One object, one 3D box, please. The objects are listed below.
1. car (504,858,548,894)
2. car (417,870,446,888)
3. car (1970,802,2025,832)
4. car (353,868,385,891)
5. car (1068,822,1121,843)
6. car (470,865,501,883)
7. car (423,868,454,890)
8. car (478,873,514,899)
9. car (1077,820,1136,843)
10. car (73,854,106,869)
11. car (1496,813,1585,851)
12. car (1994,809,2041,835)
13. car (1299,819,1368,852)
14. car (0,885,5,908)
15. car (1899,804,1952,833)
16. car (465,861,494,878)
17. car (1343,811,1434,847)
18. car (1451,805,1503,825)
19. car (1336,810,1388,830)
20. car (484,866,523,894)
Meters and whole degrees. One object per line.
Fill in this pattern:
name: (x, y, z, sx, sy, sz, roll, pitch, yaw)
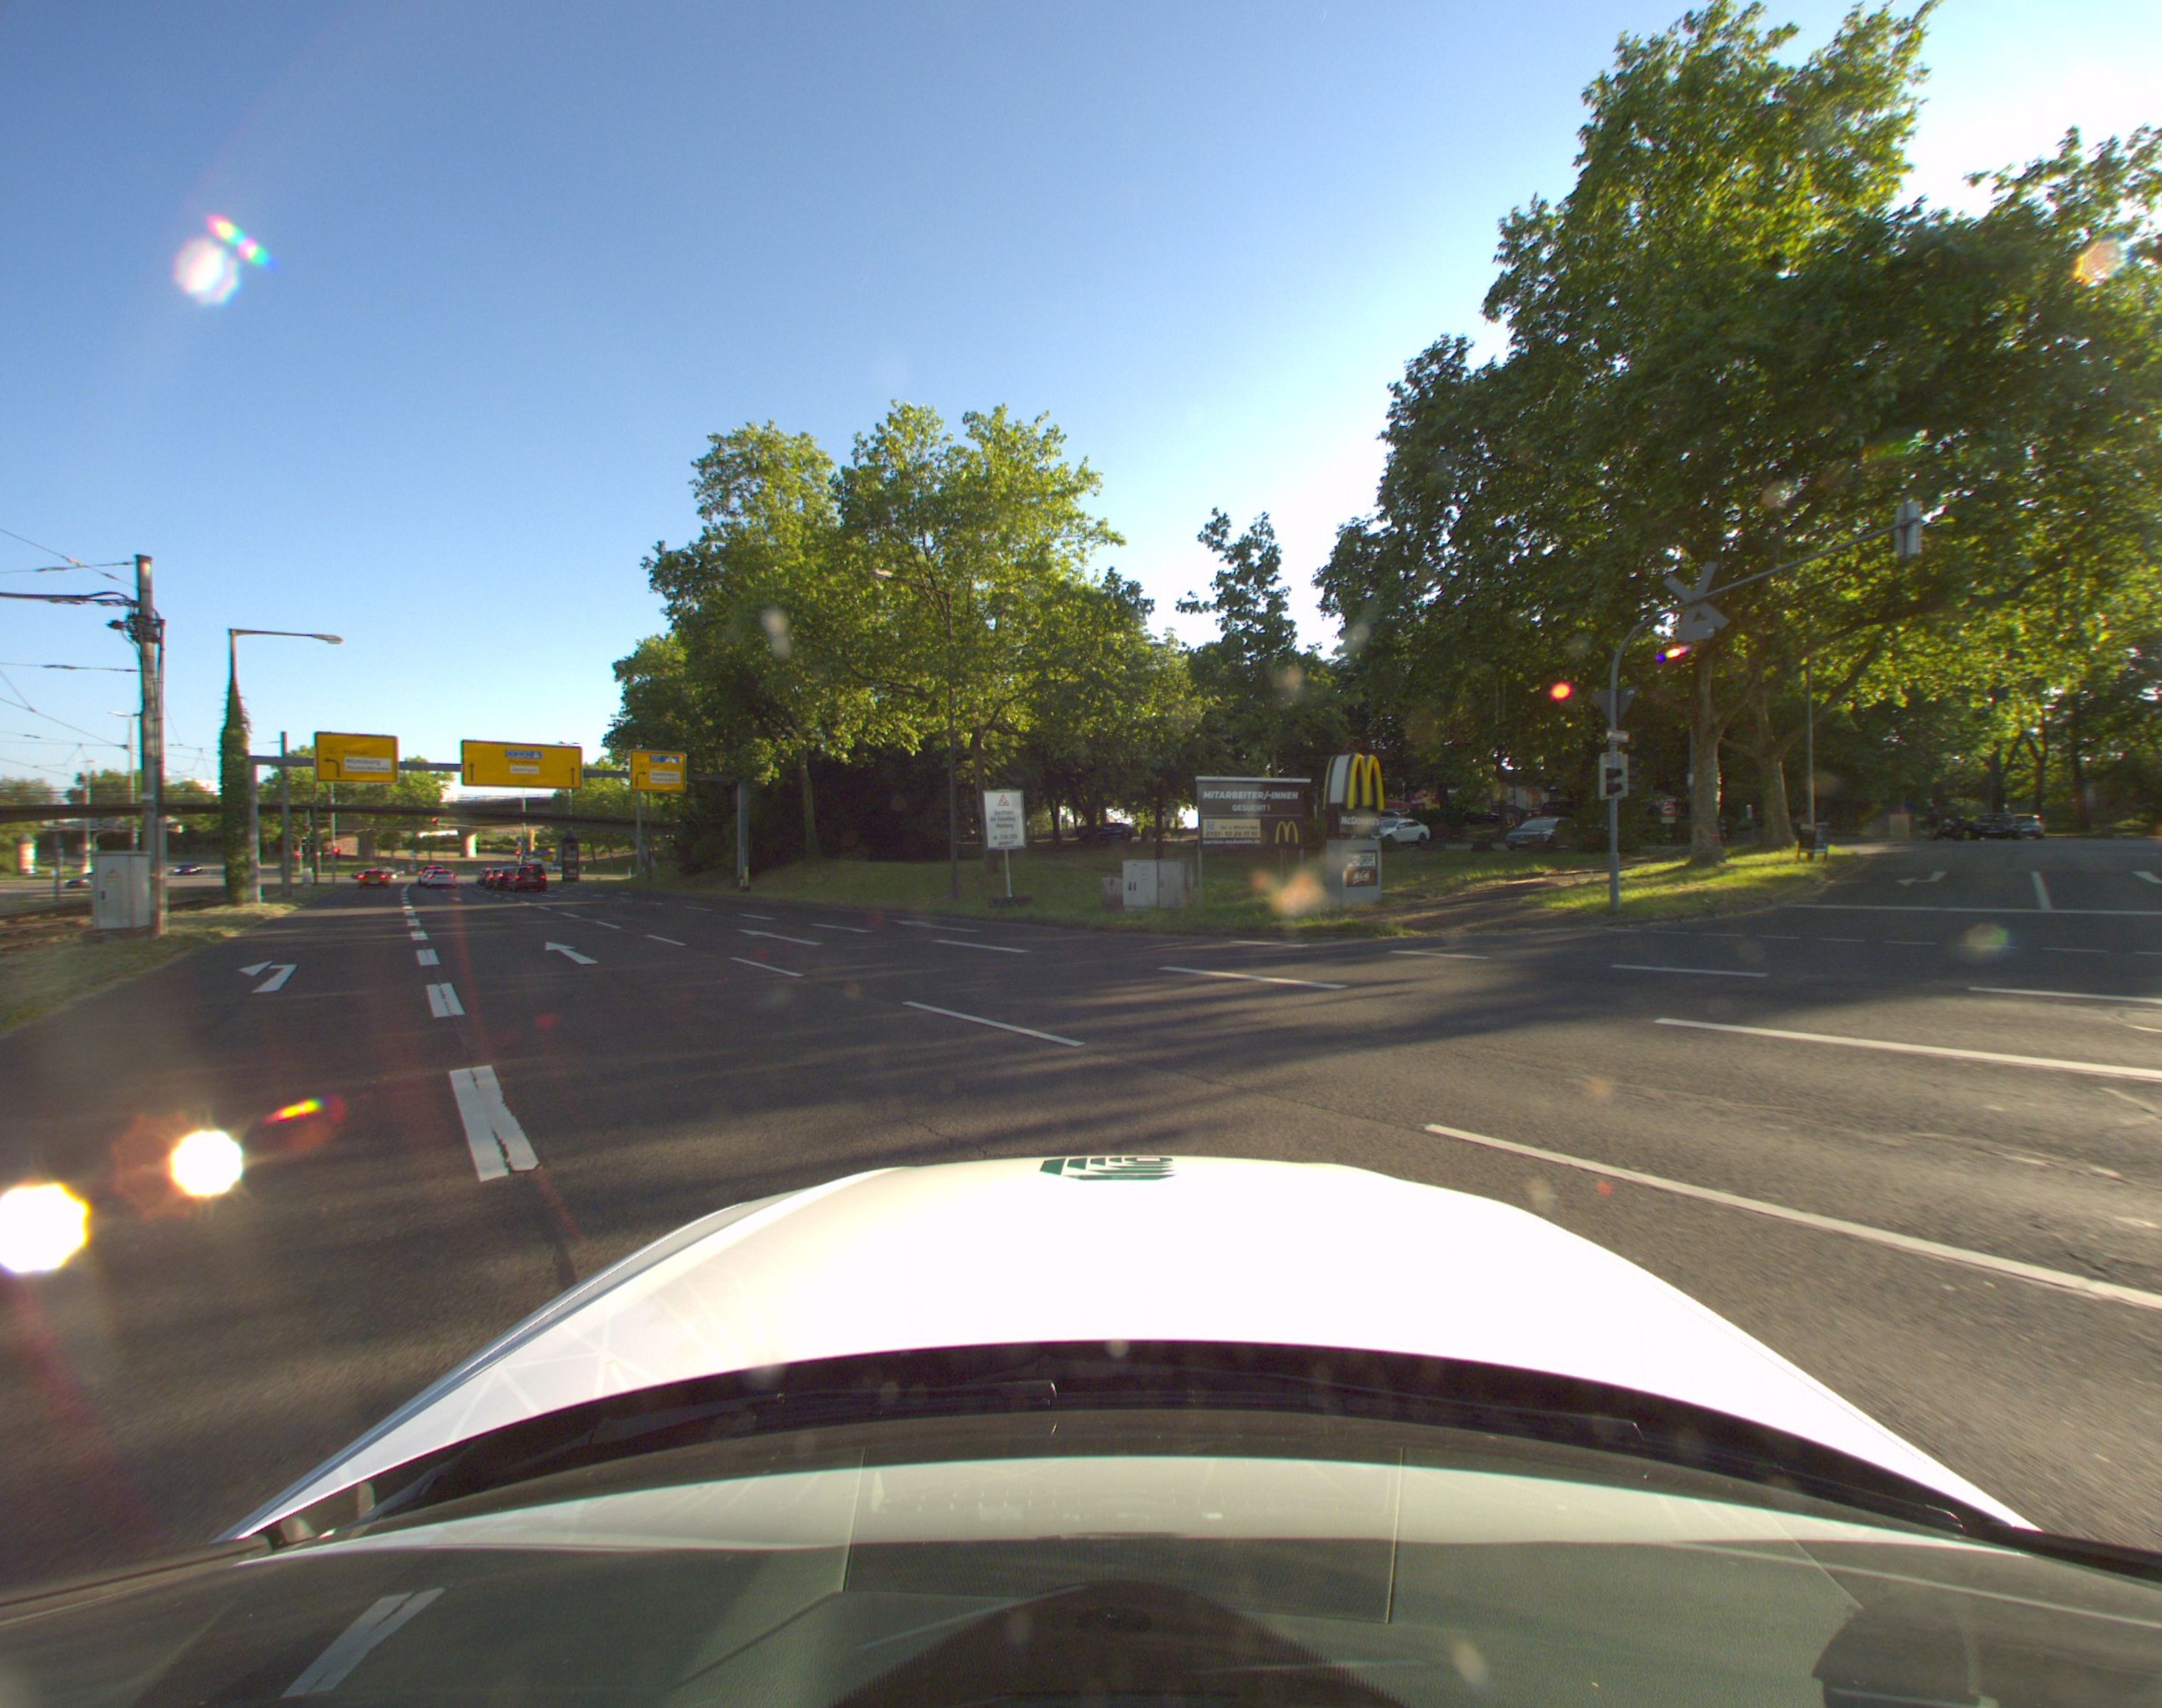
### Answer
car: (-35.141, 1.367, 51.559, 1.808, 2.105, 3.953, -3, 2, -40)
car: (-54.040, 2.036, 67.805, 1.756, 1.432, 4.361, 1, -1, -38)
car: (50.261, -2.043, 44.648, 4.020, 1.552, 1.830, -3, 2, -39)
car: (-54.637, 1.932, 62.515, 1.677, 1.565, 3.953, -3, 2, -40)
car: (1.126, -1.758, 67.353, 4.007, 1.552, 1.792, -3, 1, -26)
car: (-51.874, 1.721, 70.891, 1.808, 1.382, 4.424, -3, 2, -40)
car: (-49.529, 1.904, 62.736, 1.677, 1.565, 4.141, -3, 2, -40)
car: (-43.634, 2.329, 60.723, 1.808, 1.749, 3.953, -3, 2, -40)
car: (1.896, -1.684, 60.124, 4.017, 1.552, 1.788, -3, 1, -35)
car: (-119.120, 0.862, 97.848, 1.895, 1.772, 3.952, 1, -1, -41)
car: (20.698, -1.007, 36.621, 4.425, 1.574, 2.019, -3, 1, -40)
car: (59.617, -2.037, 51.840, 4.020, 1.552, 1.830, -3, 2, -39)
car: (14.229, -1.045, 45.707, 4.250, 1.687, 1.805, -3, 1, -43)
car: (-80.039, 3.159, 58.675, 2.010, 1.681, 4.142, -3, 1, -39)
car: (49.365, -2.097, 47.576, 4.020, 1.552, 1.830, -3, 2, -39)
car: (-55.002, 1.395, 74.434, 1.808, 1.442, 3.953, -3, 1, -40)
car: (16.063, -1.332, 42.425, 4.921, 1.706, 1.978, -3, 1, -35)
car: (34.980, -3.396, 71.889, 3.948, 1.552, 1.819, -2, 1, 31)
car: (24.459, -2.951, 70.948, 3.948, 1.552, 1.819, -2, 1, 32)
car: (-39.632, 1.757, 55.830, 1.808, 1.749, 4.191, -3, 2, -40)
